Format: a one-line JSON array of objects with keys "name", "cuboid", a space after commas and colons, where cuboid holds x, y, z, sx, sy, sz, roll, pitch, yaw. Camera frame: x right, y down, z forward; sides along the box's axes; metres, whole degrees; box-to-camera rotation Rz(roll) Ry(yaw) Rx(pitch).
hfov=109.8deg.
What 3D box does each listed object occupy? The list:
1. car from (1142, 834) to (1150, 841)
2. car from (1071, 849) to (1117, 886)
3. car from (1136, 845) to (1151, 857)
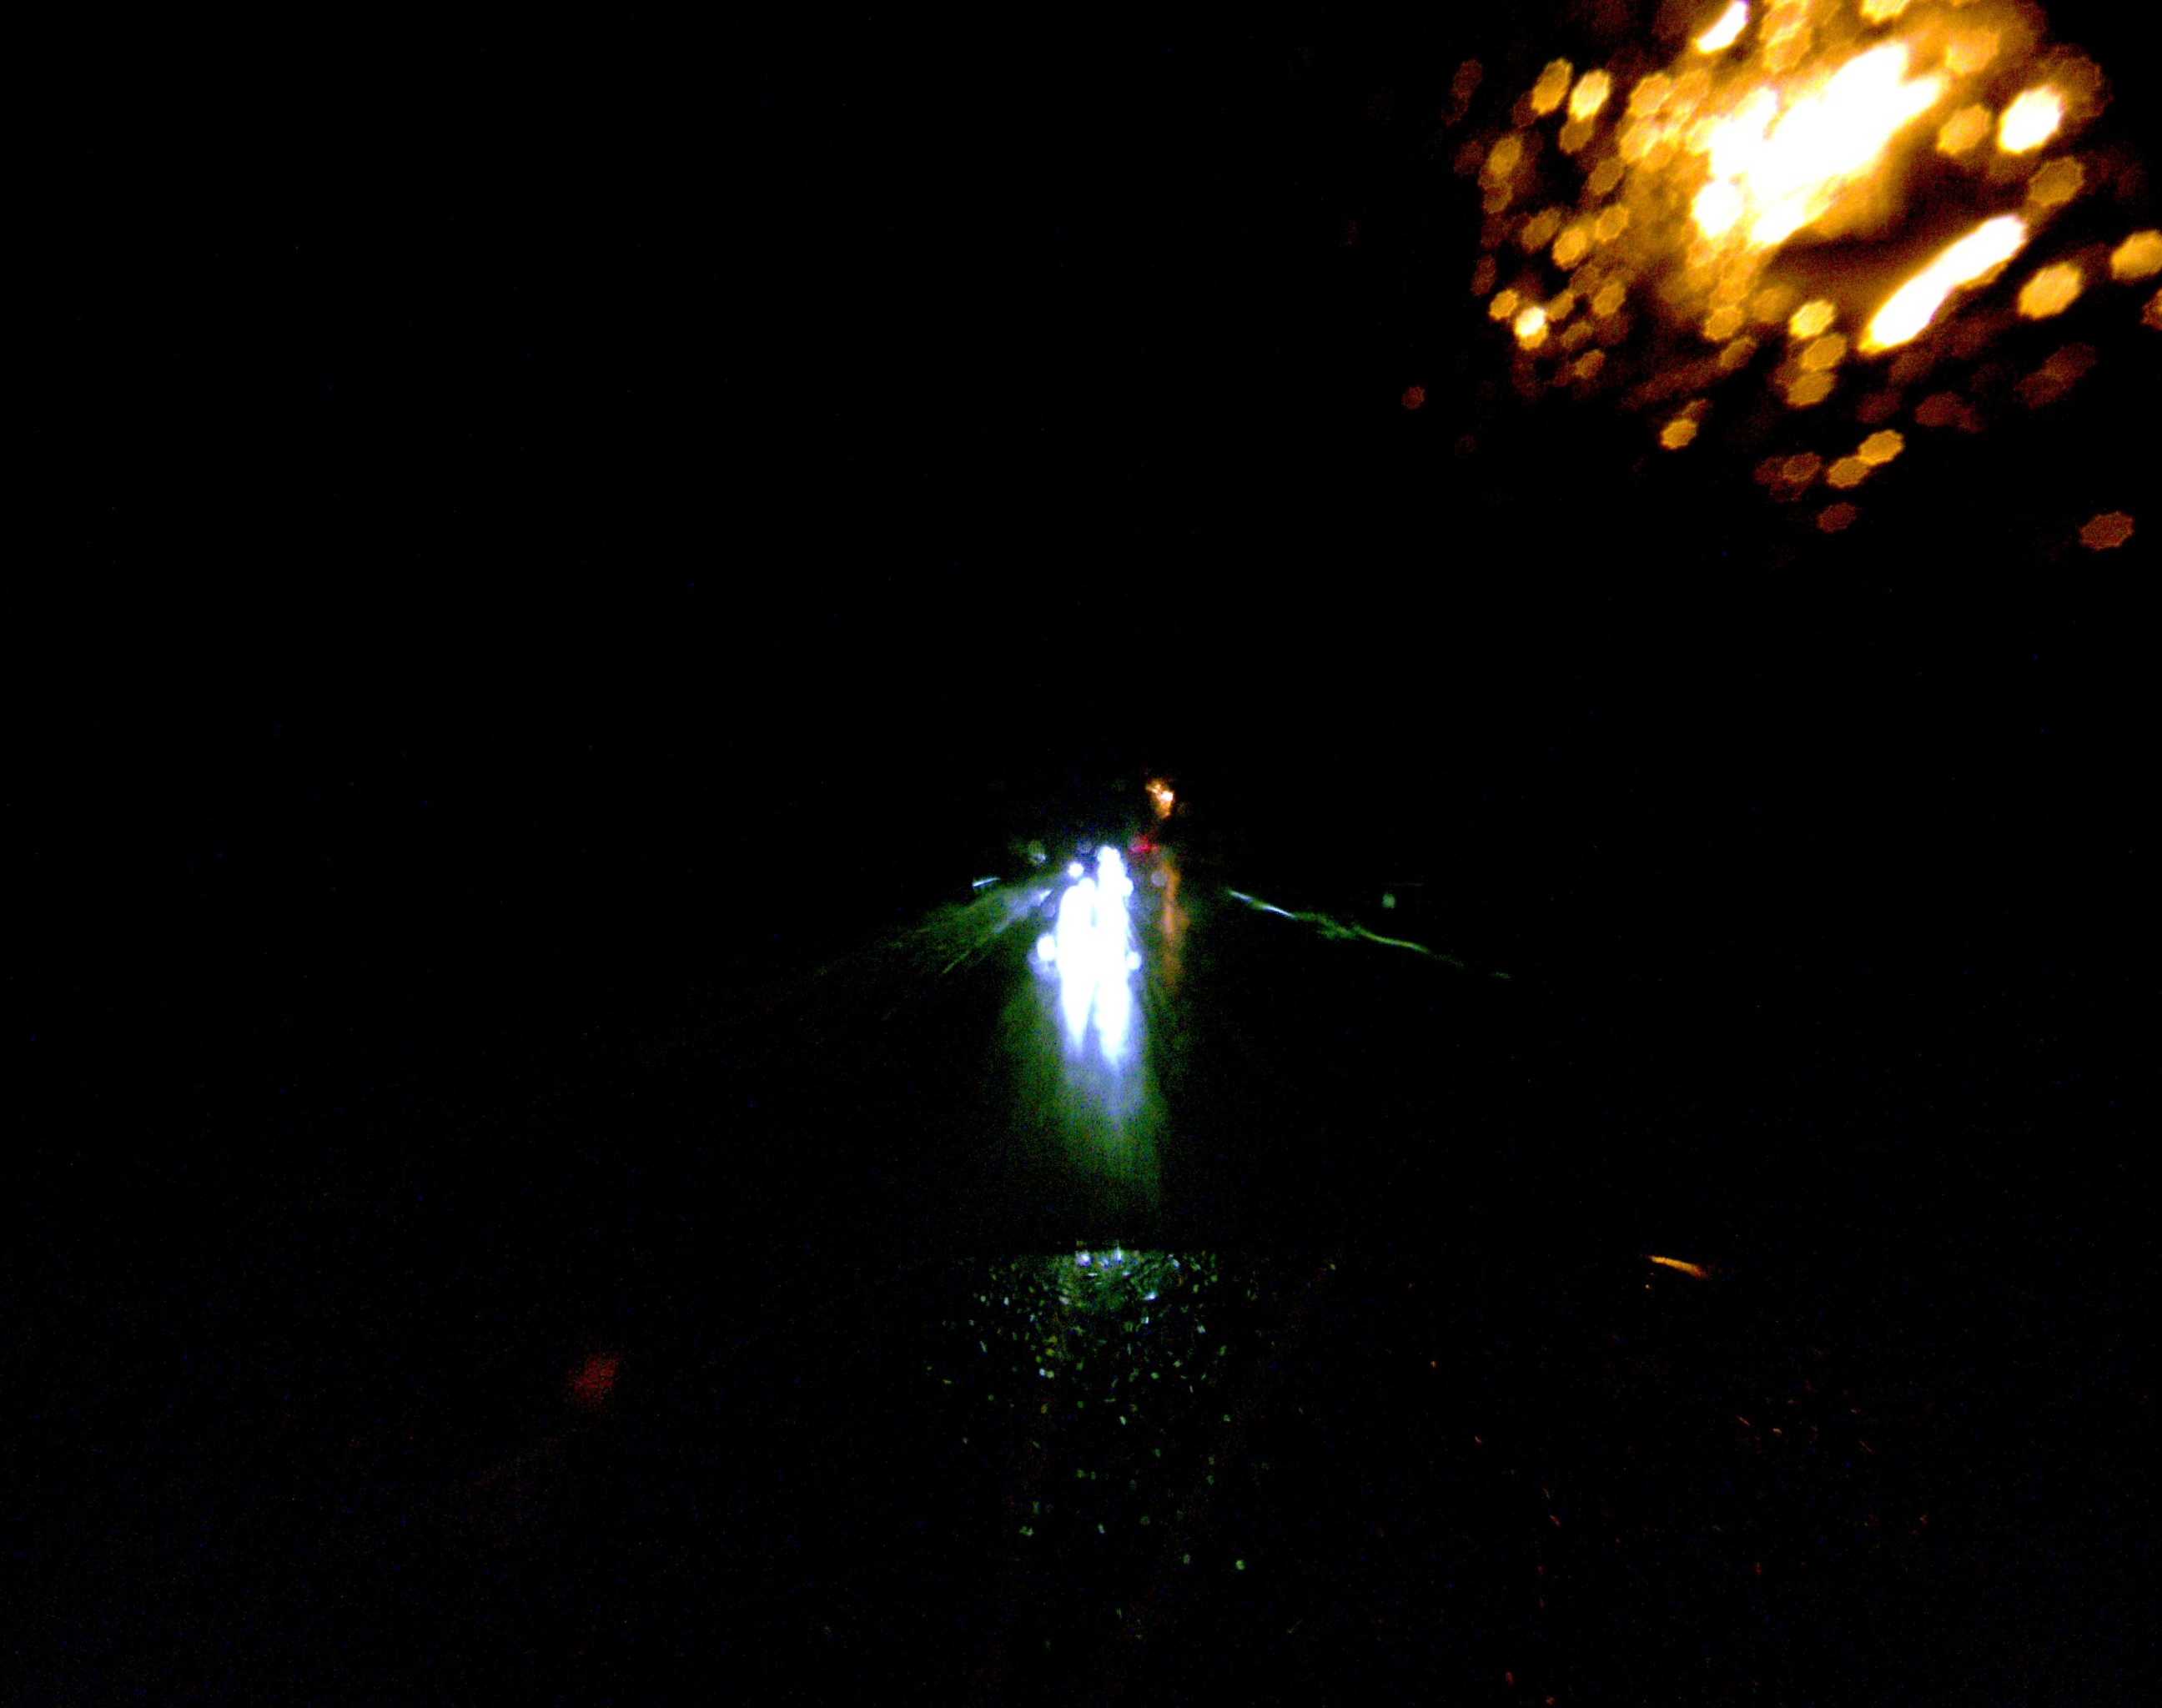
[{"name": "car", "cuboid": [15.587, -3.982, 183.216, 1.805, 1.484, 3.867, -2, 2, 4]}, {"name": "car", "cuboid": [0.610, 0.645, 36.342, 1.944, 1.580, 4.776, -3, -1, 1]}, {"name": "car", "cuboid": [8.758, -0.453, 107.222, 1.919, 1.467, 4.203, -3, 2, 3]}]
